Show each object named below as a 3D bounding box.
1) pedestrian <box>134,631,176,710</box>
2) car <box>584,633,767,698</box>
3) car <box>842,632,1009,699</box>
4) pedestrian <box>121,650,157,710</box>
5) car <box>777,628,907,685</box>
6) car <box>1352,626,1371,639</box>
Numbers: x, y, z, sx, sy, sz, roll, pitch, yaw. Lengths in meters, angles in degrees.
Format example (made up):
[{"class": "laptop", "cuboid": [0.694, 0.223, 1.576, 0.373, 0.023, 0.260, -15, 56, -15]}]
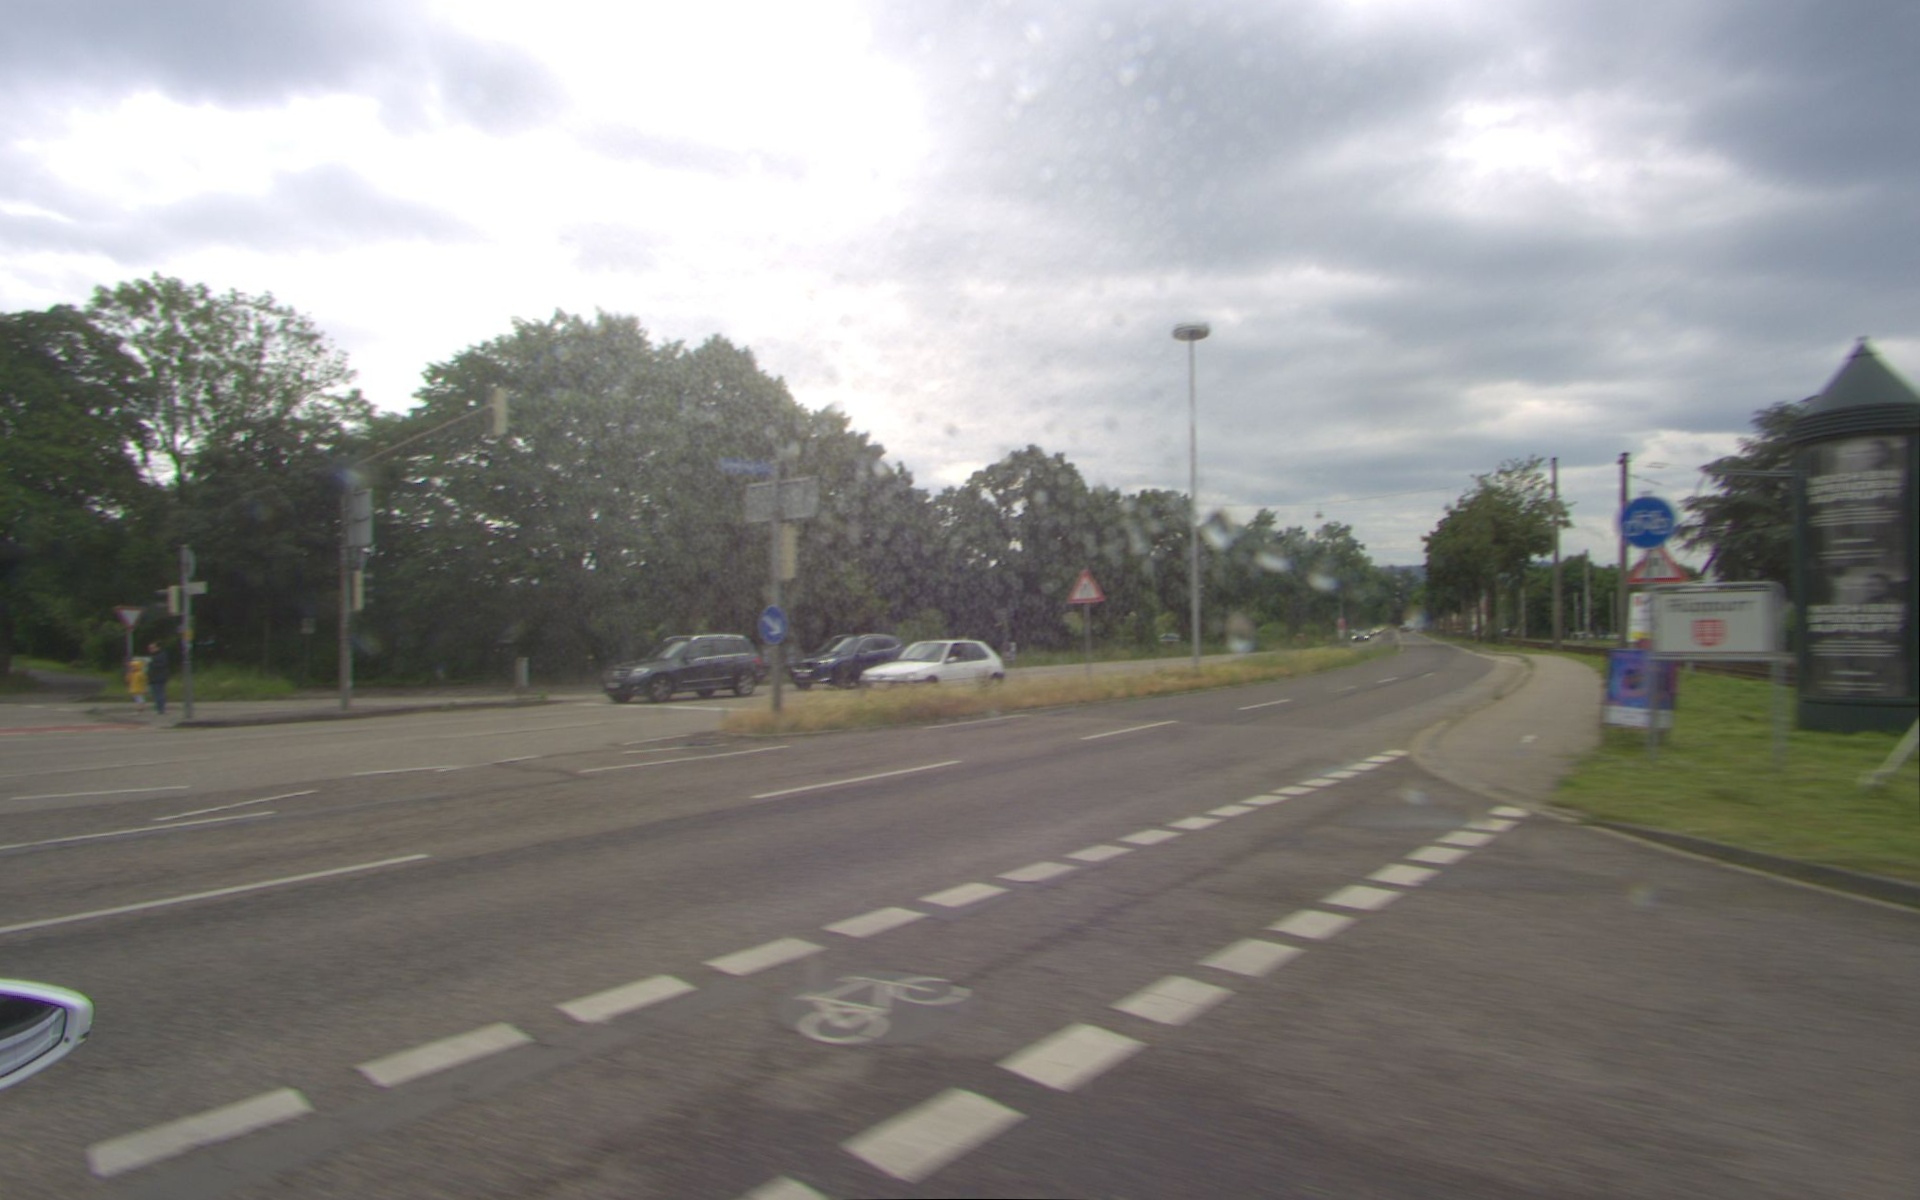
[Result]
[{"class": "pedestrian", "cuboid": [-18.511, 1.612, 23.024, 0.453, 1.772, 0.655, -1, -1, 35]}, {"class": "car", "cuboid": [-7.302, 1.636, 26.144, 1.822, 1.523, 4.452, -2, -2, 36]}, {"class": "car", "cuboid": [-0.689, 1.425, 22.830, 1.626, 1.374, 4.125, -2, -2, 36]}, {"class": "pedestrian", "cuboid": [-19.070, 1.838, 23.252, 0.518, 1.359, 0.525, -1, -1, 35]}, {"class": "car", "cuboid": [-3.570, 1.703, 30.975, 1.853, 1.638, 3.978, -2, -2, 34]}, {"class": "car", "cuboid": [48.674, 3.885, 121.331, 1.636, 1.549, 3.875, -2, -2, 29]}]
